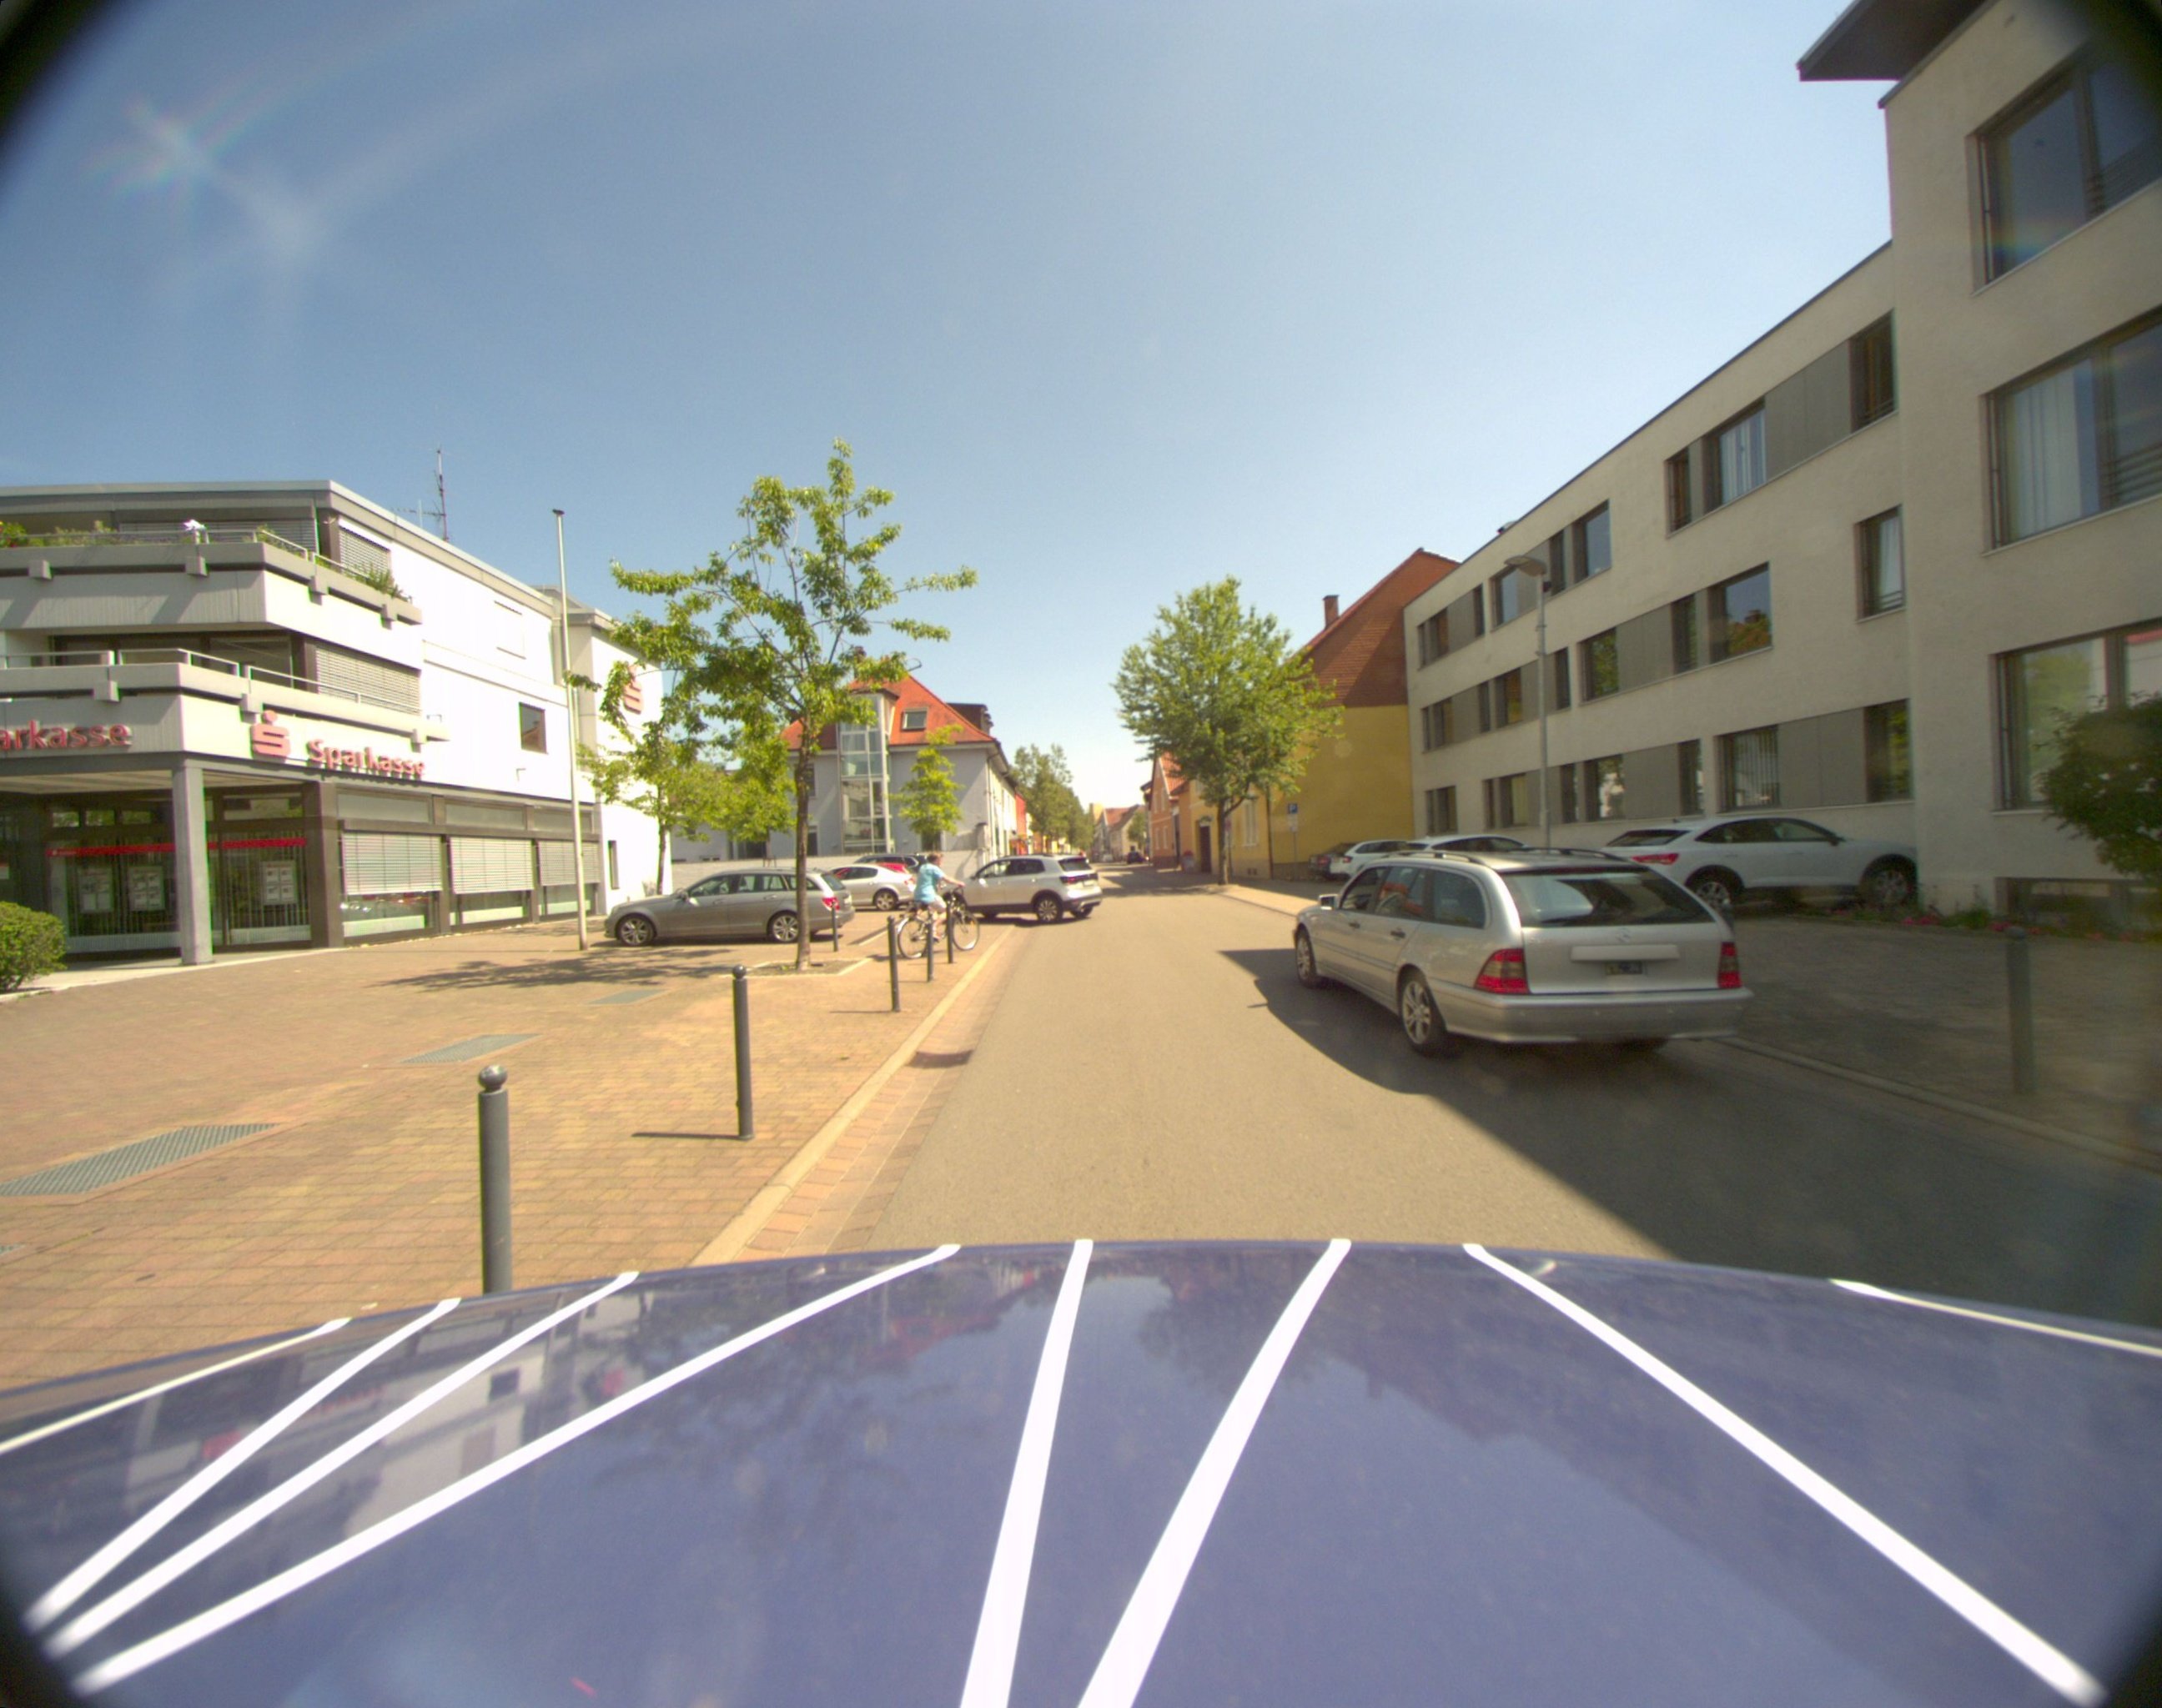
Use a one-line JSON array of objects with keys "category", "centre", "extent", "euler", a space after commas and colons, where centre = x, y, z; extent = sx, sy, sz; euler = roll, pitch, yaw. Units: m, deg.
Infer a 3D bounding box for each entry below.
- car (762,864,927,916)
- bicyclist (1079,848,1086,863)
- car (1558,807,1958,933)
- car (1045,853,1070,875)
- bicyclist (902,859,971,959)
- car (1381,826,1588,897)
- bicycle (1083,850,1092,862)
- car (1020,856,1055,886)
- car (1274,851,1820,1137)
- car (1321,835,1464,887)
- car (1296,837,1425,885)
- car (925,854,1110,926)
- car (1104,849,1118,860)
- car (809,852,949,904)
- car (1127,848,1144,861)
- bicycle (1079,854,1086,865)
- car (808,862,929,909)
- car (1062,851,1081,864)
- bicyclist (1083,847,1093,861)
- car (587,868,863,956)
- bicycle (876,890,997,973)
[{"category": "car", "centre": [-7.150, 1.066, 23.376], "extent": [4.549, 1.432, 1.838], "euler": [-1, 0, -6]}, {"category": "bicyclist", "centre": [0.169, 0.164, 86.415], "extent": [0.645, 1.766, 0.722], "euler": [-1, -1, 6]}, {"category": "car", "centre": [10.662, 0.227, 12.262], "extent": [4.518, 1.545, 2.147], "euler": [-4, 1, -1]}, {"category": "car", "centre": [-1.899, 0.749, 60.445], "extent": [1.834, 1.579, 4.086], "euler": [-4, 1, -3]}, {"category": "bicyclist", "centre": [-2.310, 0.861, 12.183], "extent": [0.669, 1.518, 0.763], "euler": [-2, 1, 36]}, {"category": "car", "centre": [10.800, 0.184, 20.587], "extent": [4.515, 1.545, 1.934], "euler": [-4, 1, 0]}, {"category": "bicycle", "centre": [0.813, 0.269, 91.587], "extent": [0.959, 1.363, 2.406], "euler": [-2, 0, 4]}, {"category": "car", "centre": [-2.285, 0.870, 40.944], "extent": [1.708, 1.472, 3.921], "euler": [-1, 0, -1]}, {"category": "car", "centre": [3.177, 0.778, 6.466], "extent": [1.885, 1.456, 4.435], "euler": [-2, 1, 0]}, {"category": "car", "centre": [10.430, 0.241, 25.648], "extent": [3.997, 1.442, 1.807], "euler": [-4, 0, -1]}, {"category": "car", "centre": [10.334, 0.257, 28.307], "extent": [3.998, 1.423, 1.972], "euler": [-4, 0, -4]}, {"category": "car", "centre": [-1.516, 0.824, 18.190], "extent": [3.990, 1.564, 1.860], "euler": [-1, 0, 25]}, {"category": "car", "centre": [6.261, 0.153, 161.220], "extent": [2.443, 2.224, 4.959], "euler": [-2, 0, -3]}, {"category": "car", "centre": [-7.403, 0.865, 28.292], "extent": [4.643, 1.760, 2.147], "euler": [-1, 0, -2]}, {"category": "car", "centre": [7.070, 0.022, 98.339], "extent": [1.862, 1.620, 4.049], "euler": [-2, 0, 7]}, {"category": "bicycle", "centre": [0.181, 0.680, 86.439], "extent": [0.635, 1.227, 1.895], "euler": [-1, -1, 6]}, {"category": "car", "centre": [-7.183, 1.051, 25.984], "extent": [3.740, 1.444, 1.744], "euler": [-1, 0, -6]}, {"category": "car", "centre": [-1.196, 0.402, 98.110], "extent": [1.928, 1.594, 4.110], "euler": [-2, 0, 7]}, {"category": "bicyclist", "centre": [0.830, -0.048, 92.124], "extent": [1.028, 1.635, 1.025], "euler": [-2, 1, 3]}, {"category": "car", "centre": [-6.894, 1.086, 15.185], "extent": [4.589, 1.504, 1.915], "euler": [-1, 1, -6]}, {"category": "bicycle", "centre": [-2.276, 1.199, 12.210], "extent": [0.674, 1.103, 1.899], "euler": [-2, 1, 36]}]
